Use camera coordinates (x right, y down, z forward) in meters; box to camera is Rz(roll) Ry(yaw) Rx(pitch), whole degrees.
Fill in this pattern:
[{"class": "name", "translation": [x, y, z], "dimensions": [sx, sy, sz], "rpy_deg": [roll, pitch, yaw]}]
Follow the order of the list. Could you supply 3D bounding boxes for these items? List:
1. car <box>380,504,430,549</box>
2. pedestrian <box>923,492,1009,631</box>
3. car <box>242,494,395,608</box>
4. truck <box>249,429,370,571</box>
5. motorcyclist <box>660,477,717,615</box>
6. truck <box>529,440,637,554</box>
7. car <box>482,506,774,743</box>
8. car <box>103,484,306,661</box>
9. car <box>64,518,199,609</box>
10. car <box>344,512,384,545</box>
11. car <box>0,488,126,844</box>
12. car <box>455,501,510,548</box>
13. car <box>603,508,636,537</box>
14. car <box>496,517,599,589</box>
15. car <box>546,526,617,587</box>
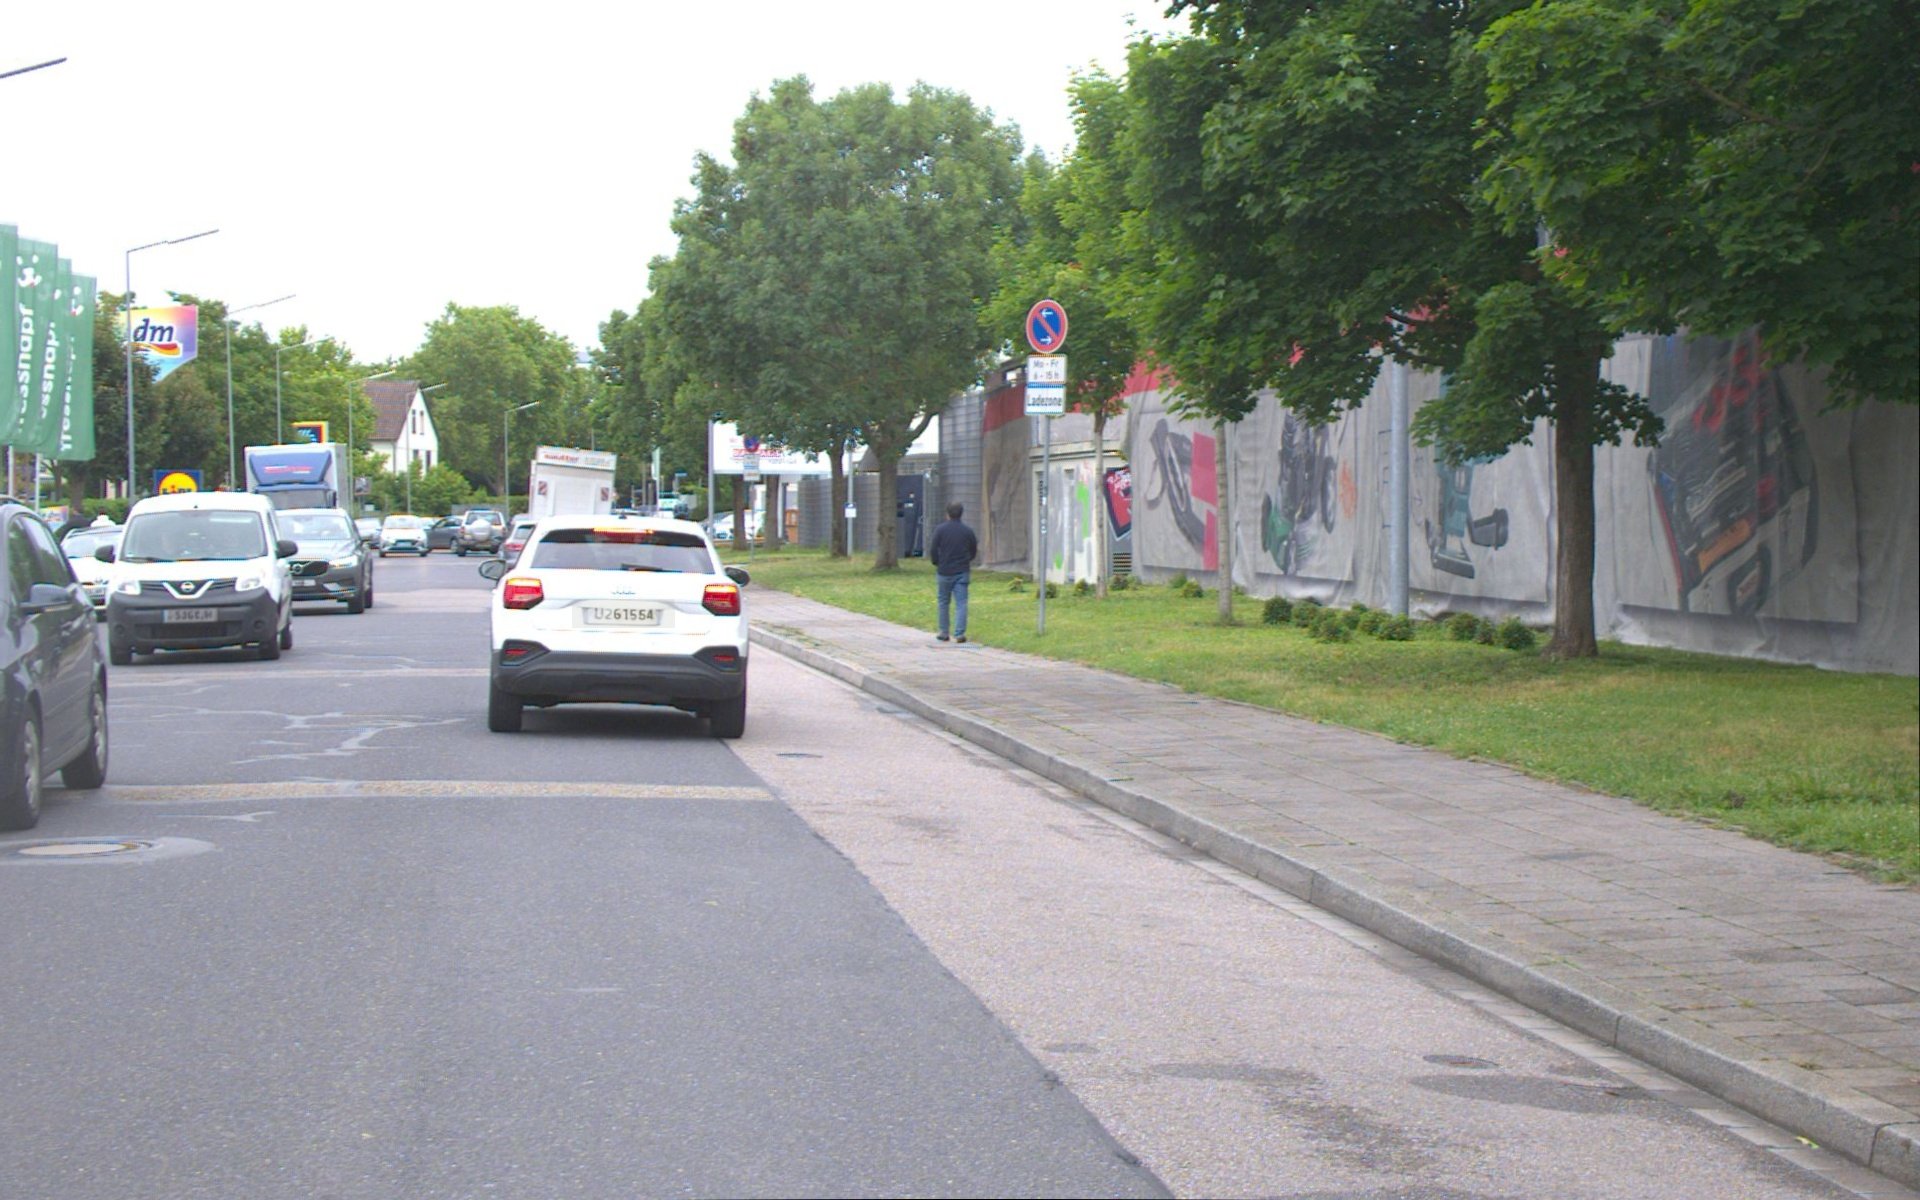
[{"class": "car", "translation": [-20.012, -2.647, 124.072], "dimensions": [1.598, 1.523, 3.529], "rpy_deg": [-2, 1, -7]}, {"class": "pedestrian", "translation": [0.066, -0.466, 41.237], "dimensions": [0.919, 1.629, 0.853], "rpy_deg": [1, 1, -5]}, {"class": "car", "translation": [-10.076, -0.798, 54.264], "dimensions": [1.933, 1.678, 4.496], "rpy_deg": [-1, 2, -5]}, {"class": "truck", "translation": [-18.968, -2.919, 100.556], "dimensions": [2.973, 3.942, 6.406], "rpy_deg": [-2, 2, -7]}, {"class": "motorcyclist", "translation": [-3.087, -0.617, 39.082], "dimensions": [0.625, 1.548, 0.604], "rpy_deg": [0, 1, -5]}, {"class": "truck", "translation": [-12.750, -3.399, 115.608], "dimensions": [3.134, 3.572, 10.053], "rpy_deg": [1, 1, -9]}, {"class": "car", "translation": [-2.457, 0.113, 25.019], "dimensions": [1.886, 1.526, 4.255], "rpy_deg": [2, 1, -7]}, {"class": "car", "translation": [-8.113, -0.344, 37.195], "dimensions": [1.689, 1.755, 4.136], "rpy_deg": [-2, 2, -7]}, {"class": "car", "translation": [-13.337, -0.619, 55.206], "dimensions": [1.897, 1.362, 4.001], "rpy_deg": [-1, 2, -16]}, {"class": "car", "translation": [-25.801, -3.095, 148.897], "dimensions": [1.623, 1.370, 3.453], "rpy_deg": [1, 1, -8]}, {"class": "car", "translation": [-5.254, 0.258, 16.988], "dimensions": [1.729, 1.566, 3.947], "rpy_deg": [-1, 2, -7]}, {"class": "car", "translation": [-17.308, -2.737, 124.545], "dimensions": [1.869, 1.656, 4.001], "rpy_deg": [-1, 2, -9]}, {"class": "car", "translation": [-20.832, -4.728, 210.075], "dimensions": [1.886, 1.677, 4.255], "rpy_deg": [2, 1, -7]}, {"class": "car", "translation": [-8.254, -0.963, 68.577], "dimensions": [1.937, 1.362, 4.001], "rpy_deg": [-1, 2, -8]}, {"class": "car", "translation": [-11.769, -1.358, 106.648], "dimensions": [1.993, 1.799, 4.001], "rpy_deg": [1, 1, -9]}]
